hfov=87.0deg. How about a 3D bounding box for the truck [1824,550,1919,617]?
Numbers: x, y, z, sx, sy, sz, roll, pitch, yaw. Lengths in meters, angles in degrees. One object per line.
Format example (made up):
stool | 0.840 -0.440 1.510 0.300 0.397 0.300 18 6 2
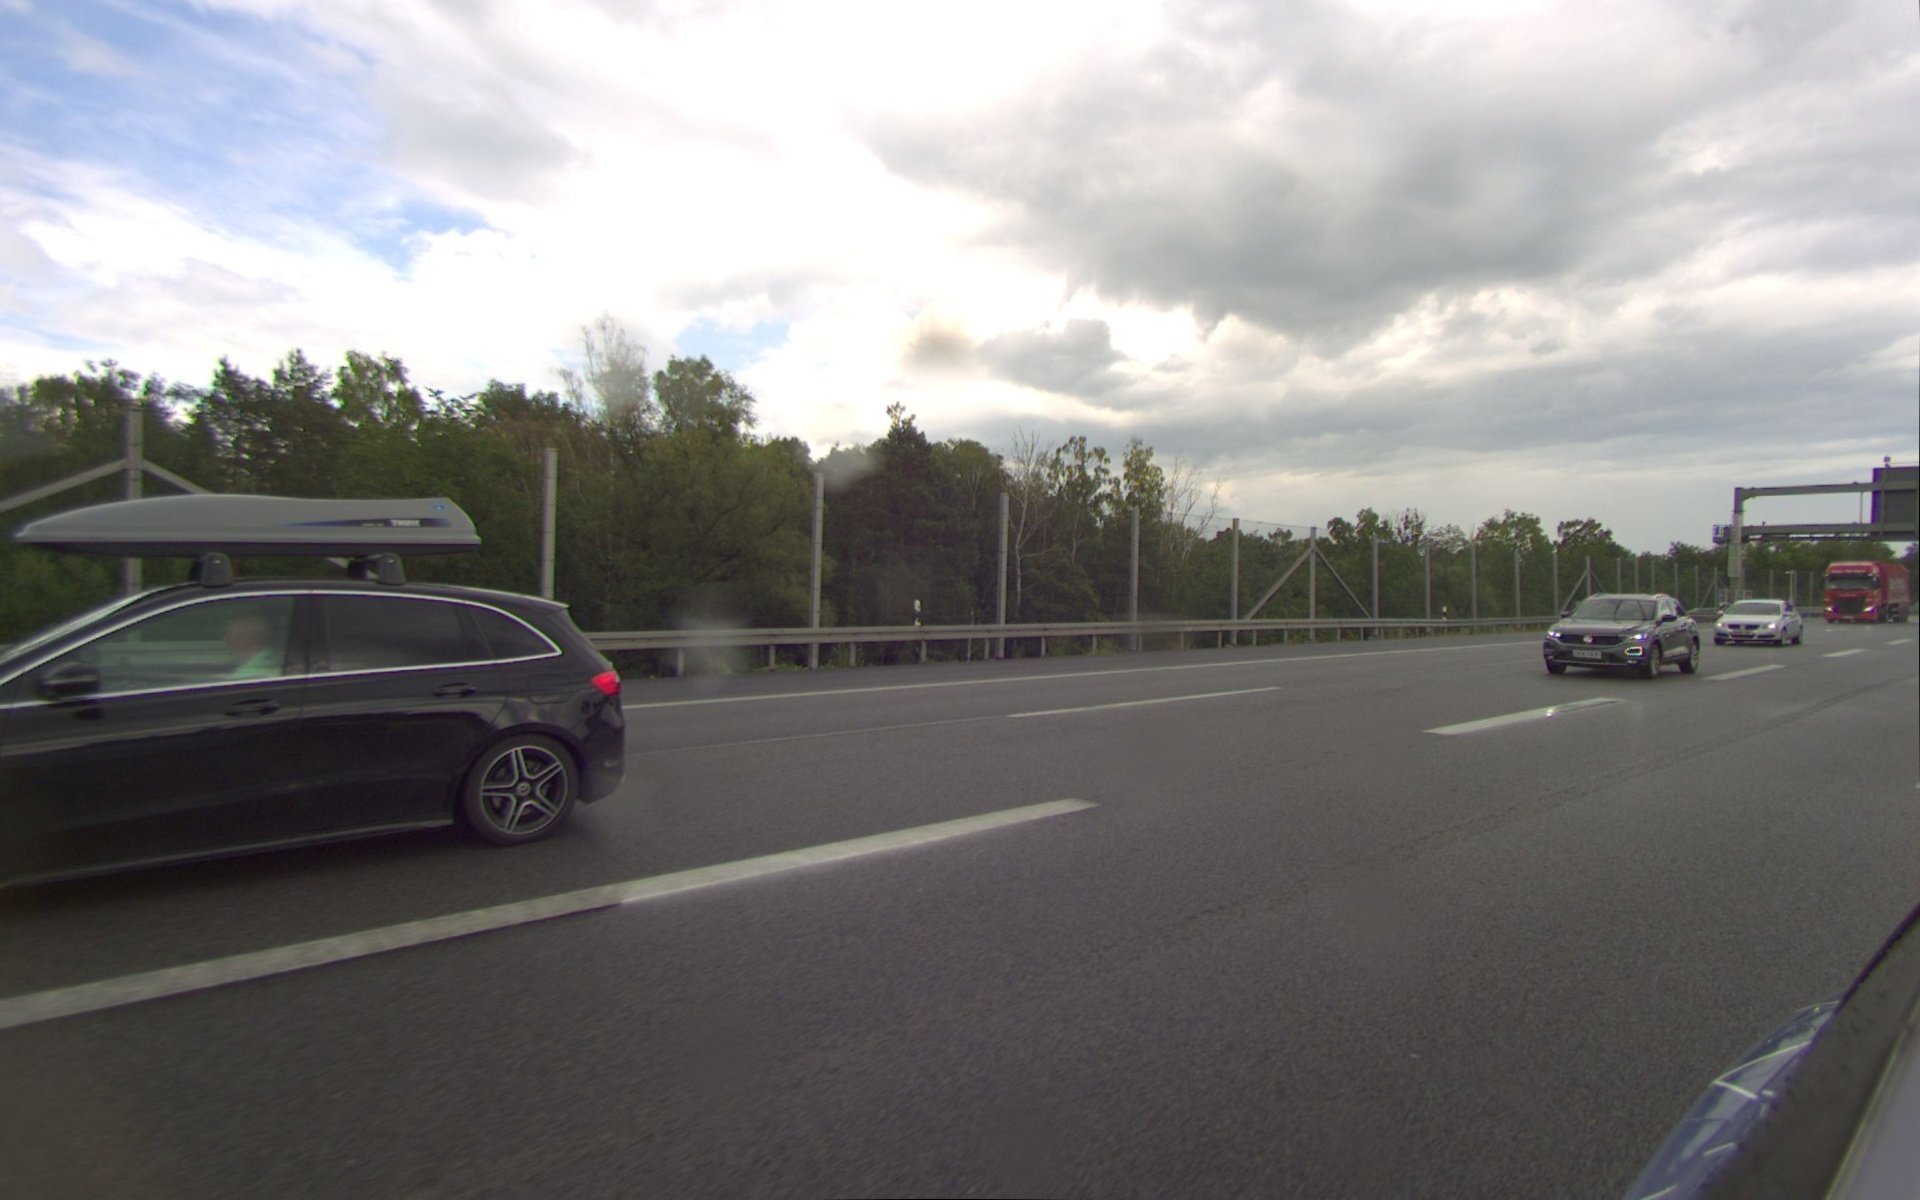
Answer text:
truck | 61.673 -1.014 67.763 15.355 4.054 3.159 0 0 -39

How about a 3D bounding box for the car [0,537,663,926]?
car | -4.364 0.534 5.312 4.978 1.626 2.108 0 1 -42

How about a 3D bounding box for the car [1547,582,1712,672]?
car | 13.007 0.454 19.590 3.657 1.582 1.795 0 1 -41

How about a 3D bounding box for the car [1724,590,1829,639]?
car | 26.361 0.410 32.627 4.171 1.465 1.897 0 1 -40
